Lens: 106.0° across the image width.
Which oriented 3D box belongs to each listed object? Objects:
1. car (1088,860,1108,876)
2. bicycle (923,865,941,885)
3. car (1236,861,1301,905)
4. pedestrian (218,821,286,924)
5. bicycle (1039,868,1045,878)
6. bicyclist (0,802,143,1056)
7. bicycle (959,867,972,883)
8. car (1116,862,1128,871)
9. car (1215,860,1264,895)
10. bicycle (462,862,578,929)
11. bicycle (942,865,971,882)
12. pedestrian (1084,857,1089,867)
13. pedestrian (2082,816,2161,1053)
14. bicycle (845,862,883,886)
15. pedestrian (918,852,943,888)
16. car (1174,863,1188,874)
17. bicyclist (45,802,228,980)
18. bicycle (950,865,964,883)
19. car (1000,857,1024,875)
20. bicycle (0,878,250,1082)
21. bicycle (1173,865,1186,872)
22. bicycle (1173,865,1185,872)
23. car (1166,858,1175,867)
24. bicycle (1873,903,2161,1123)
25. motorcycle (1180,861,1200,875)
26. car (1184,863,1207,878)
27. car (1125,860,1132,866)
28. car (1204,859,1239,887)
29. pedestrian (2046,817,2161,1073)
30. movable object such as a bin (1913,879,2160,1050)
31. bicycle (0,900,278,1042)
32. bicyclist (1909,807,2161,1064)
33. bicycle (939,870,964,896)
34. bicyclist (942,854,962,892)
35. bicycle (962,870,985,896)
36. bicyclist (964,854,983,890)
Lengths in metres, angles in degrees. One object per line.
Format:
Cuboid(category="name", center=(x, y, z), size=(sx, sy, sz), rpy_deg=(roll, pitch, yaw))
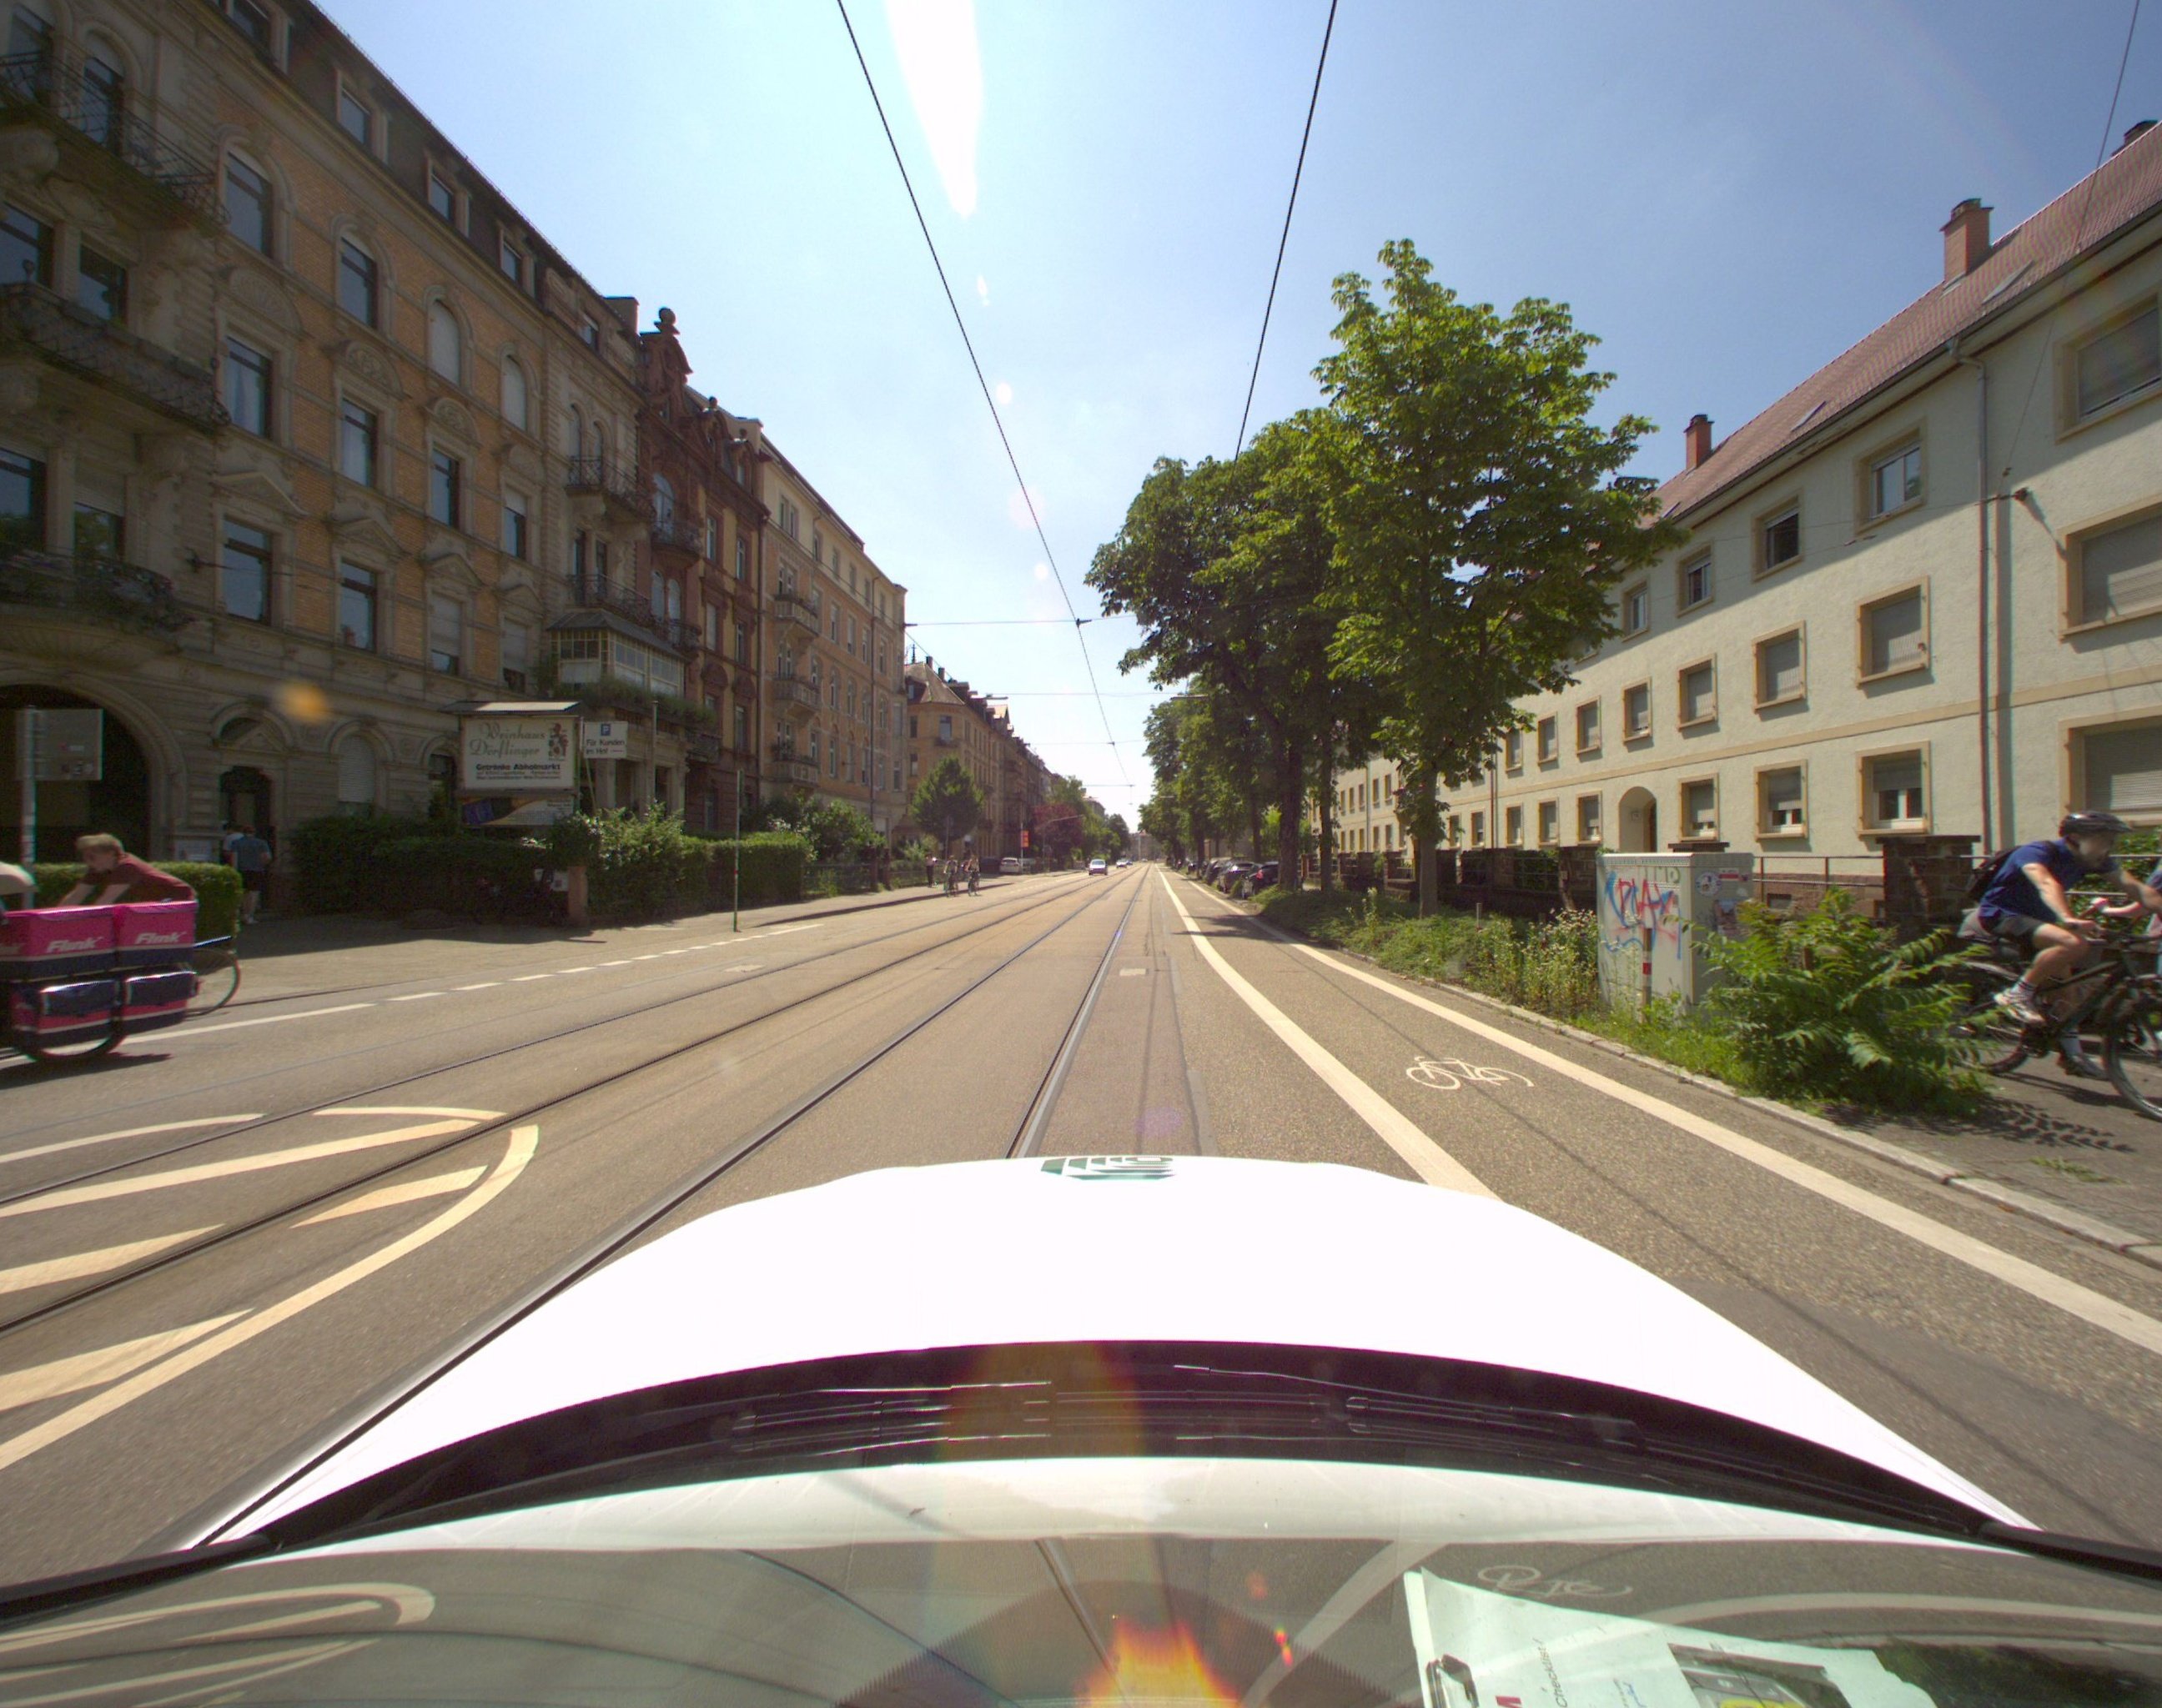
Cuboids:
Cuboid(category="car", center=(1.622, 1.291, 77.797), size=(1.677, 1.449, 4.005), rpy_deg=(0, 0, 4))
Cuboid(category="bicycle", center=(-7.821, 1.111, 42.756), size=(0.494, 0.987, 1.712), rpy_deg=(5, 0, 3))
Cuboid(category="car", center=(6.943, 1.014, 30.500), size=(1.650, 1.515, 4.002), rpy_deg=(1, 0, 2))
Cuboid(category="pedestrian", center=(-15.562, 0.342, 15.315), size=(0.821, 1.857, 0.868), rpy_deg=(1, -1, -43))
Cuboid(category="bicycle", center=(-4.043, 1.989, 84.925), size=(0.452, 1.003, 1.807), rpy_deg=(1, -1, 2))
Cuboid(category="bicyclist", center=(-7.312, 0.482, 5.488), size=(0.803, 1.630, 0.982), rpy_deg=(0, -1, 5))
Cuboid(category="bicycle", center=(-7.093, 1.274, 49.914), size=(0.437, 0.983, 1.712), rpy_deg=(1, 0, 3))
Cuboid(category="car", center=(6.936, 2.096, 137.972), size=(1.747, 1.424, 4.006), rpy_deg=(0, -1, 5))
Cuboid(category="car", center=(7.543, 1.092, 39.091), size=(1.725, 1.552, 4.457), rpy_deg=(0, 0, 3))
Cuboid(category="bicycle", center=(-11.164, 0.809, 16.227), size=(1.863, 1.227, 0.568), rpy_deg=(3, -1, 2))
Cuboid(category="bicycle", center=(-7.866, 1.216, 51.347), size=(1.695, 1.037, 0.552), rpy_deg=(1, -1, 9))
Cuboid(category="pedestrian", center=(0.962, 1.371, 136.201), size=(0.748, 1.629, 0.833), rpy_deg=(1, -1, 0))
Cuboid(category="pedestrian", center=(7.951, 0.556, 5.773), size=(0.694, 1.669, 0.757), rpy_deg=(-2, -1, 4))
Cuboid(category="bicycle", center=(-9.606, 0.866, 36.091), size=(1.502, 1.043, 0.496), rpy_deg=(0, -1, 6))
Cuboid(category="pedestrian", center=(-7.520, 0.771, 40.649), size=(0.847, 1.723, 1.140), rpy_deg=(3, 0, 5))
Cuboid(category="car", center=(14.248, 2.067, 116.102), size=(1.766, 1.501, 4.310), rpy_deg=(-1, 0, 4))
Cuboid(category="bicyclist", center=(-8.563, 0.317, 7.425), size=(0.560, 1.516, 0.893), rpy_deg=(0, -1, 5))
Cuboid(category="bicycle", center=(-7.283, 1.177, 47.880), size=(0.437, 0.983, 1.712), rpy_deg=(1, 0, 3))
Cuboid(category="car", center=(-6.424, 1.121, 76.023), size=(1.859, 1.600, 4.101), rpy_deg=(2, -1, 0))
Cuboid(category="bicycle", center=(-7.327, 0.829, 5.416), size=(0.803, 1.271, 2.554), rpy_deg=(0, -1, 6))
Cuboid(category="bicycle", center=(15.779, 2.301, 130.507), size=(1.950, 1.063, 0.600), rpy_deg=(0, -1, 11))
Cuboid(category="bicycle", center=(15.589, 2.295, 130.027), size=(1.877, 1.052, 0.540), rpy_deg=(0, -1, 11))
Cuboid(category="car", center=(20.678, 1.950, 188.965), size=(1.984, 2.035, 4.703), rpy_deg=(0, 0, 5))
Cuboid(category="bicycle", center=(6.039, 0.883, 5.076), size=(0.599, 1.051, 1.826), rpy_deg=(0, -1, 7))
Cuboid(category="motorcycle", center=(12.646, 1.640, 94.597), size=(0.874, 1.540, 2.292), rpy_deg=(1, -1, -42))
Cuboid(category="car", center=(11.150, 1.569, 79.264), size=(1.762, 1.427, 4.865), rpy_deg=(0, 0, 3))
Cuboid(category="car", center=(11.417, 2.071, 194.954), size=(1.678, 1.454, 3.753), rpy_deg=(1, -1, 5))
Cuboid(category="car", center=(8.544, 1.115, 49.844), size=(1.936, 1.651, 4.890), rpy_deg=(0, 0, 8))
Cuboid(category="pedestrian", center=(7.364, 0.583, 5.457), size=(0.694, 1.669, 0.870), rpy_deg=(-2, -1, 4))
Cuboid(category="movable object such as a bin", center=(7.443, 0.818, 6.413), size=(0.694, 1.186, 1.037), rpy_deg=(-2, -1, 4))
Cuboid(category="bicycle", center=(-8.567, 0.983, 7.409), size=(0.565, 1.038, 1.832), rpy_deg=(0, -1, 6))
Cuboid(category="bicyclist", center=(6.052, 0.462, 5.124), size=(0.707, 1.452, 1.012), rpy_deg=(0, -1, 7))
Cuboid(category="bicycle", center=(-5.562, 1.233, 35.114), size=(0.626, 1.078, 1.877), rpy_deg=(-1, -1, 5))
Cuboid(category="bicyclist", center=(-5.565, 0.807, 35.161), size=(0.631, 1.584, 1.029), rpy_deg=(-1, -1, 4))
Cuboid(category="bicycle", center=(-4.643, 1.228, 35.219), size=(0.578, 1.078, 1.893), rpy_deg=(-1, -1, 5))
Cuboid(category="bicyclist", center=(-4.647, 0.787, 35.240), size=(0.590, 1.544, 0.953), rpy_deg=(-1, -1, 4))
